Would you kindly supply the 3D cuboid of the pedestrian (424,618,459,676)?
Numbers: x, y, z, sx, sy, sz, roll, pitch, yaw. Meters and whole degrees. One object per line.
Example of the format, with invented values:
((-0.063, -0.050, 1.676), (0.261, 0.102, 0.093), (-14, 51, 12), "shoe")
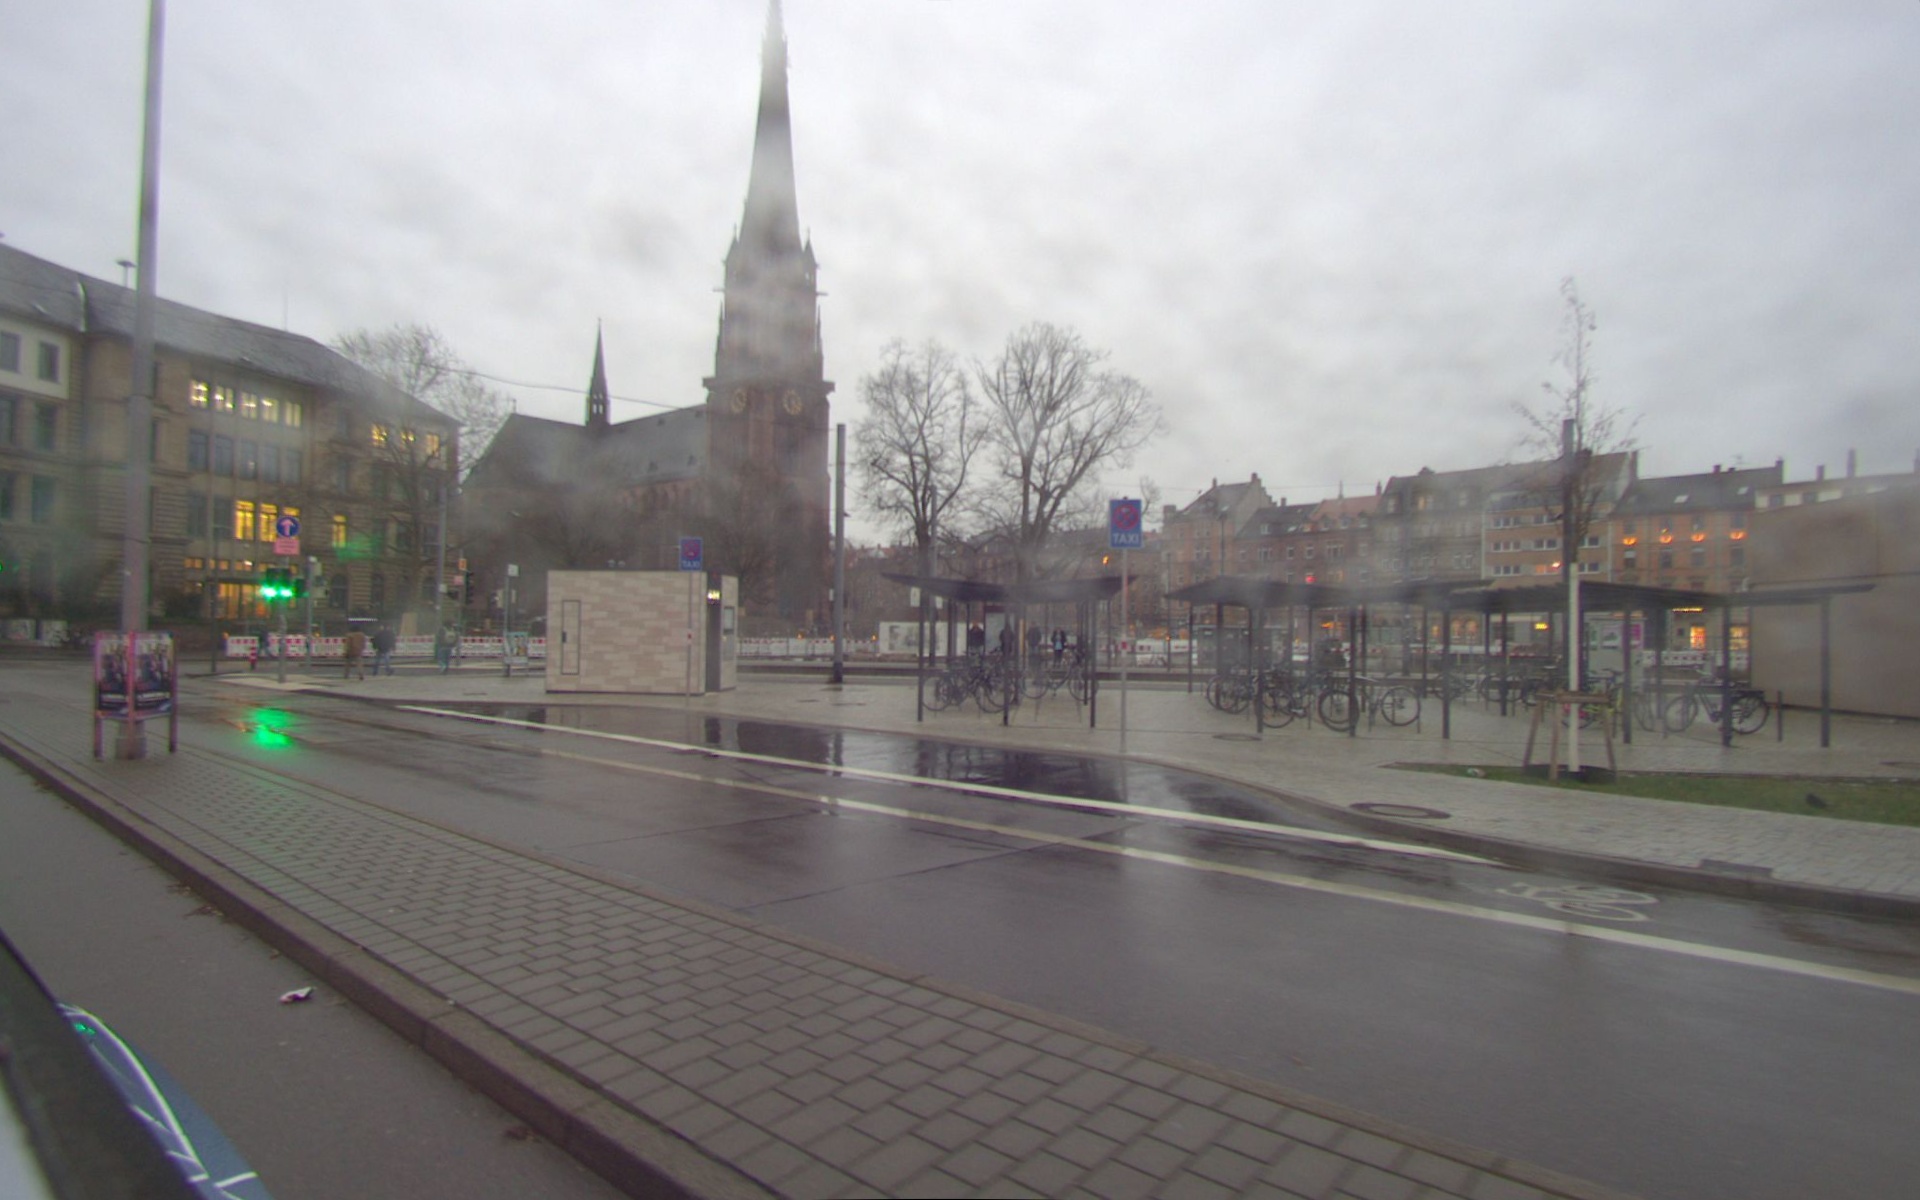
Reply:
((-16.605, 1.495, 32.427), (0.823, 1.827, 0.598), (-1, 1, 32), "pedestrian")

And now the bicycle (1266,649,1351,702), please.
((8.430, 1.822, 24.534), (1.879, 1.174, 0.548), (1, 0, 12), "bicycle")

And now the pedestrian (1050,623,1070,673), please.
((3.742, 1.800, 37.875), (0.709, 1.820, 0.713), (1, -1, 7), "pedestrian")

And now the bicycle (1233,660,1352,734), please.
((5.733, 1.660, 17.515), (1.879, 1.174, 0.548), (1, 0, 12), "bicycle")

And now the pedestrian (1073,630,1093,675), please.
((4.600, 1.957, 37.748), (0.709, 1.630, 0.713), (1, -1, 7), "pedestrian")

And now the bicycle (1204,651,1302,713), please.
((6.012, 1.676, 20.874), (1.879, 1.174, 0.548), (1, 0, 12), "bicycle")

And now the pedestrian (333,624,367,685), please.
((-17.554, 1.558, 29.127), (0.663, 1.686, 0.732), (1, 0, -17), "pedestrian")

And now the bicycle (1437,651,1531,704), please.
((12.552, 1.839, 24.282), (1.879, 1.174, 0.548), (1, 0, 12), "bicycle")

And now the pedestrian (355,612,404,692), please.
((-18.096, 1.592, 31.558), (1.062, 2.388, 0.984), (1, 0, 37), "pedestrian")

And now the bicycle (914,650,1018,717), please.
((0.121, 1.582, 19.386), (1.922, 1.174, 0.548), (1, 0, 12), "bicycle")

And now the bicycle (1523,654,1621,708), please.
((14.427, 1.905, 23.881), (1.879, 1.174, 0.548), (1, 0, 12), "bicycle")

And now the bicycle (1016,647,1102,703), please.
((2.234, 1.687, 22.878), (1.879, 1.174, 0.548), (1, 0, 12), "bicycle")

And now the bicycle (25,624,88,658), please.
((-47.844, 2.149, 53.624), (2.388, 1.701, 0.715), (0, 0, -33), "bicycle")

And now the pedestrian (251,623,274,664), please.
((-35.264, 2.179, 51.191), (0.731, 2.029, 0.646), (1, 0, -4), "pedestrian")

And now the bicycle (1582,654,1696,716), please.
((14.054, 1.755, 20.988), (1.879, 1.174, 0.548), (1, 0, 12), "bicycle")

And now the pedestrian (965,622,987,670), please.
((0.603, 1.704, 38.002), (0.709, 1.770, 0.713), (1, -1, 7), "pedestrian")

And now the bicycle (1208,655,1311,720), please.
((5.914, 1.716, 20.061), (1.879, 1.174, 0.548), (1, 0, 12), "bicycle")

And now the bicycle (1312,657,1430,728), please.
((7.429, 1.667, 18.350), (1.879, 1.174, 0.548), (1, 0, 12), "bicycle")

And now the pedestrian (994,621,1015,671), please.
((1.668, 1.720, 37.954), (0.709, 1.820, 0.713), (1, -1, 7), "pedestrian")

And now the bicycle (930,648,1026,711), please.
((0.371, 1.600, 20.562), (1.879, 1.174, 0.548), (1, 0, 12), "bicycle")

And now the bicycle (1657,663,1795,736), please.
((13.284, 1.716, 17.589), (1.875, 1.174, 0.549), (1, 0, 6), "bicycle")

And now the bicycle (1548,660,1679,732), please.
((11.746, 1.716, 18.234), (1.879, 1.174, 0.548), (1, 0, 12), "bicycle")

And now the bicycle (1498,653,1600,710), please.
((13.288, 1.826, 22.865), (1.879, 1.174, 0.548), (1, 0, 12), "bicycle")

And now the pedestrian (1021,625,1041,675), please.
((2.659, 1.873, 37.807), (0.709, 1.820, 0.713), (1, -1, 7), "pedestrian")

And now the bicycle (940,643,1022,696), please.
((0.501, 1.657, 24.254), (1.879, 1.174, 0.548), (1, 0, 12), "bicycle")
